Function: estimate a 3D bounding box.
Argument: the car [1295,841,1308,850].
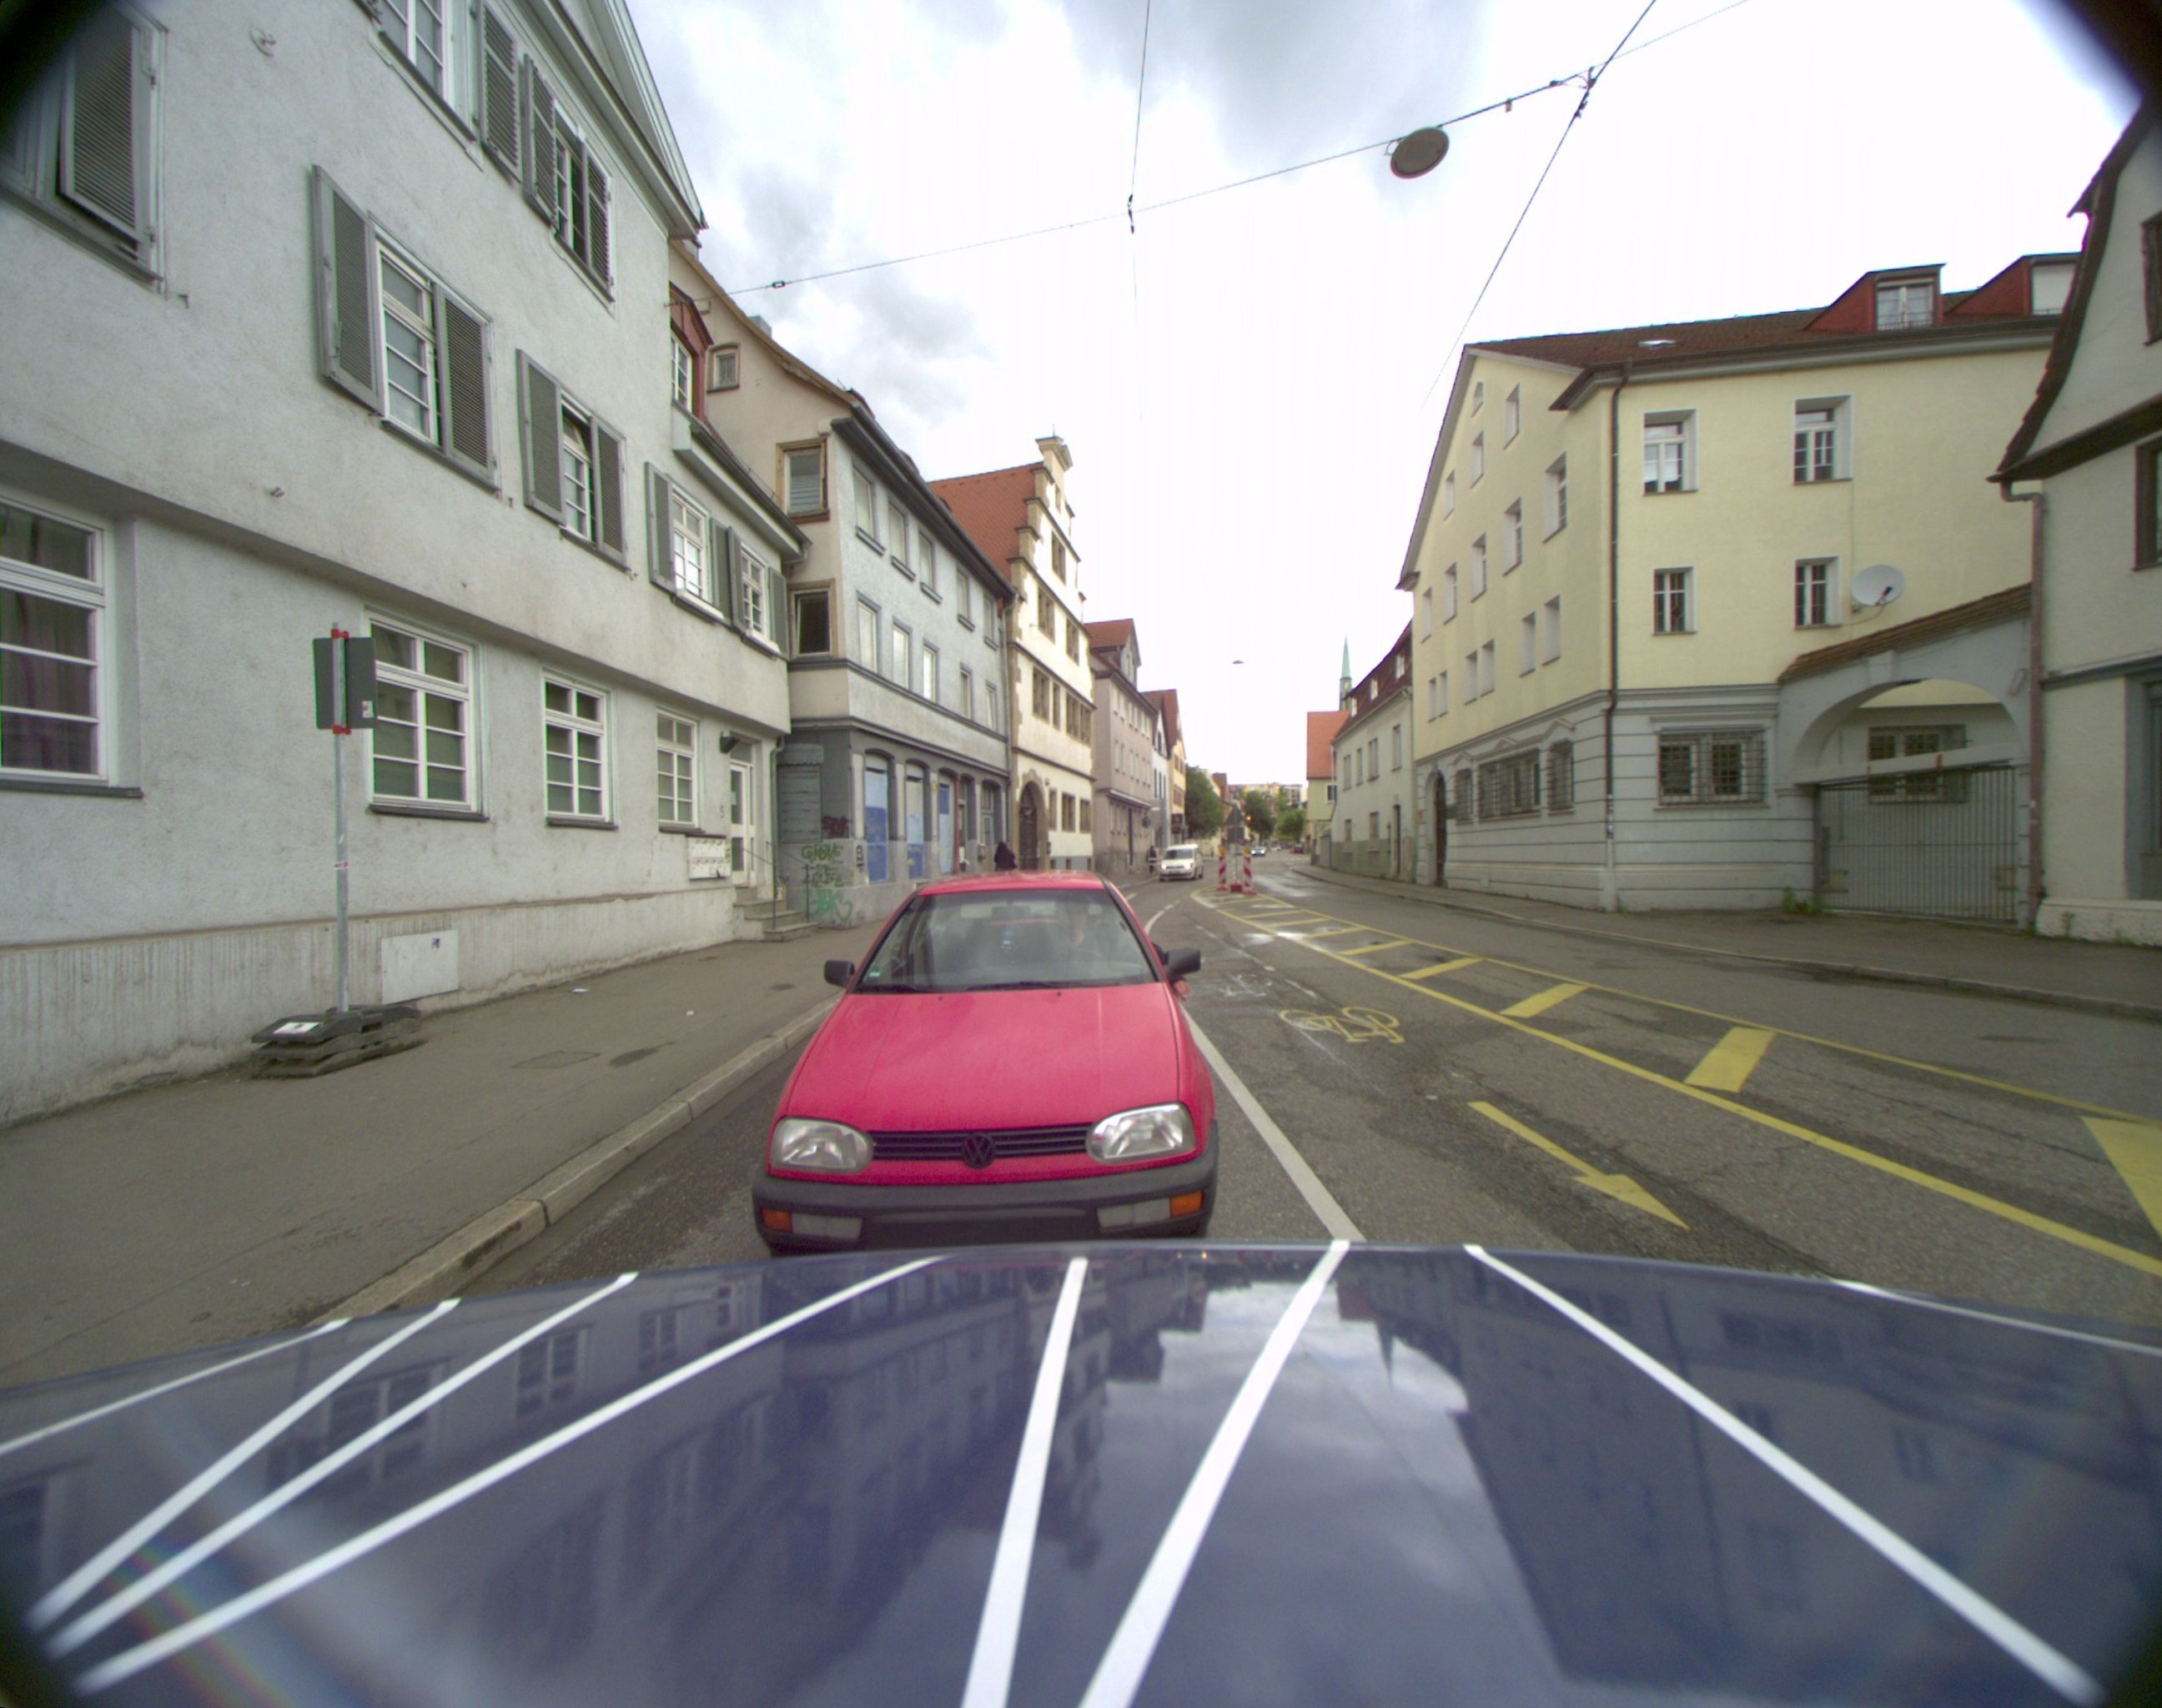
[{"bbox_3d":[42.620,-1.660,146.797,2.210,1.668,4.502,0,1,14],"label":"car"}]

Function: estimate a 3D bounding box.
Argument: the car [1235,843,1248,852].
[{"bbox_3d":[28.289,-1.116,133.616,2.031,1.546,4.004,0,1,14],"label":"car"}]

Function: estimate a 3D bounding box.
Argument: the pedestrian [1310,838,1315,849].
[{"bbox_3d":[43.809,-1.953,143.888,0.835,2.002,0.846,-1,1,13],"label":"pedestrian"}]

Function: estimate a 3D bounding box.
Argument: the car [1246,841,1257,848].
[{"bbox_3d":[34.608,-1.865,154.218,1.819,1.380,4.005,0,1,17],"label":"car"}]

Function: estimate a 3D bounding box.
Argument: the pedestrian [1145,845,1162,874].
[{"bbox_3d":[4.257,0.313,44.707,0.833,1.646,0.945,-1,0,15],"label":"pedestrian"}]

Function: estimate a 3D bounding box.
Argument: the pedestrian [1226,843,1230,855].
[{"bbox_3d":[24.964,-0.837,128.738,0.660,2.103,0.646,-1,0,10],"label":"pedestrian"}]

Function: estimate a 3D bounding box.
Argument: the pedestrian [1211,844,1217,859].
[{"bbox_3d":[20.069,-0.409,114.576,0.901,2.297,0.821,-1,0,13],"label":"pedestrian"}]

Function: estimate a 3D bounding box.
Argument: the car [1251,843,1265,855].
[{"bbox_3d":[26.916,-0.730,115.390,1.996,1.669,4.004,-1,1,15],"label":"car"}]

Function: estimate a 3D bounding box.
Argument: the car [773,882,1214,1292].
[{"bbox_3d":[-0.305,0.985,4.967,1.685,1.418,4.021,-1,0,1],"label":"car"}]

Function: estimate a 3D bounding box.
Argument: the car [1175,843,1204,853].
[{"bbox_3d":[16.269,-0.881,113.621,3.992,1.455,2.002,-1,1,17],"label":"car"}]

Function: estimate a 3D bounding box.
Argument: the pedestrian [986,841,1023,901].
[{"bbox_3d":[-2.194,0.482,21.840,0.756,1.658,0.810,2,1,14],"label":"pedestrian"}]

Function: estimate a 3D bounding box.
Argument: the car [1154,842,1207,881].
[{"bbox_3d":[5.051,0.298,38.067,1.996,1.777,4.471,0,2,16],"label":"car"}]
